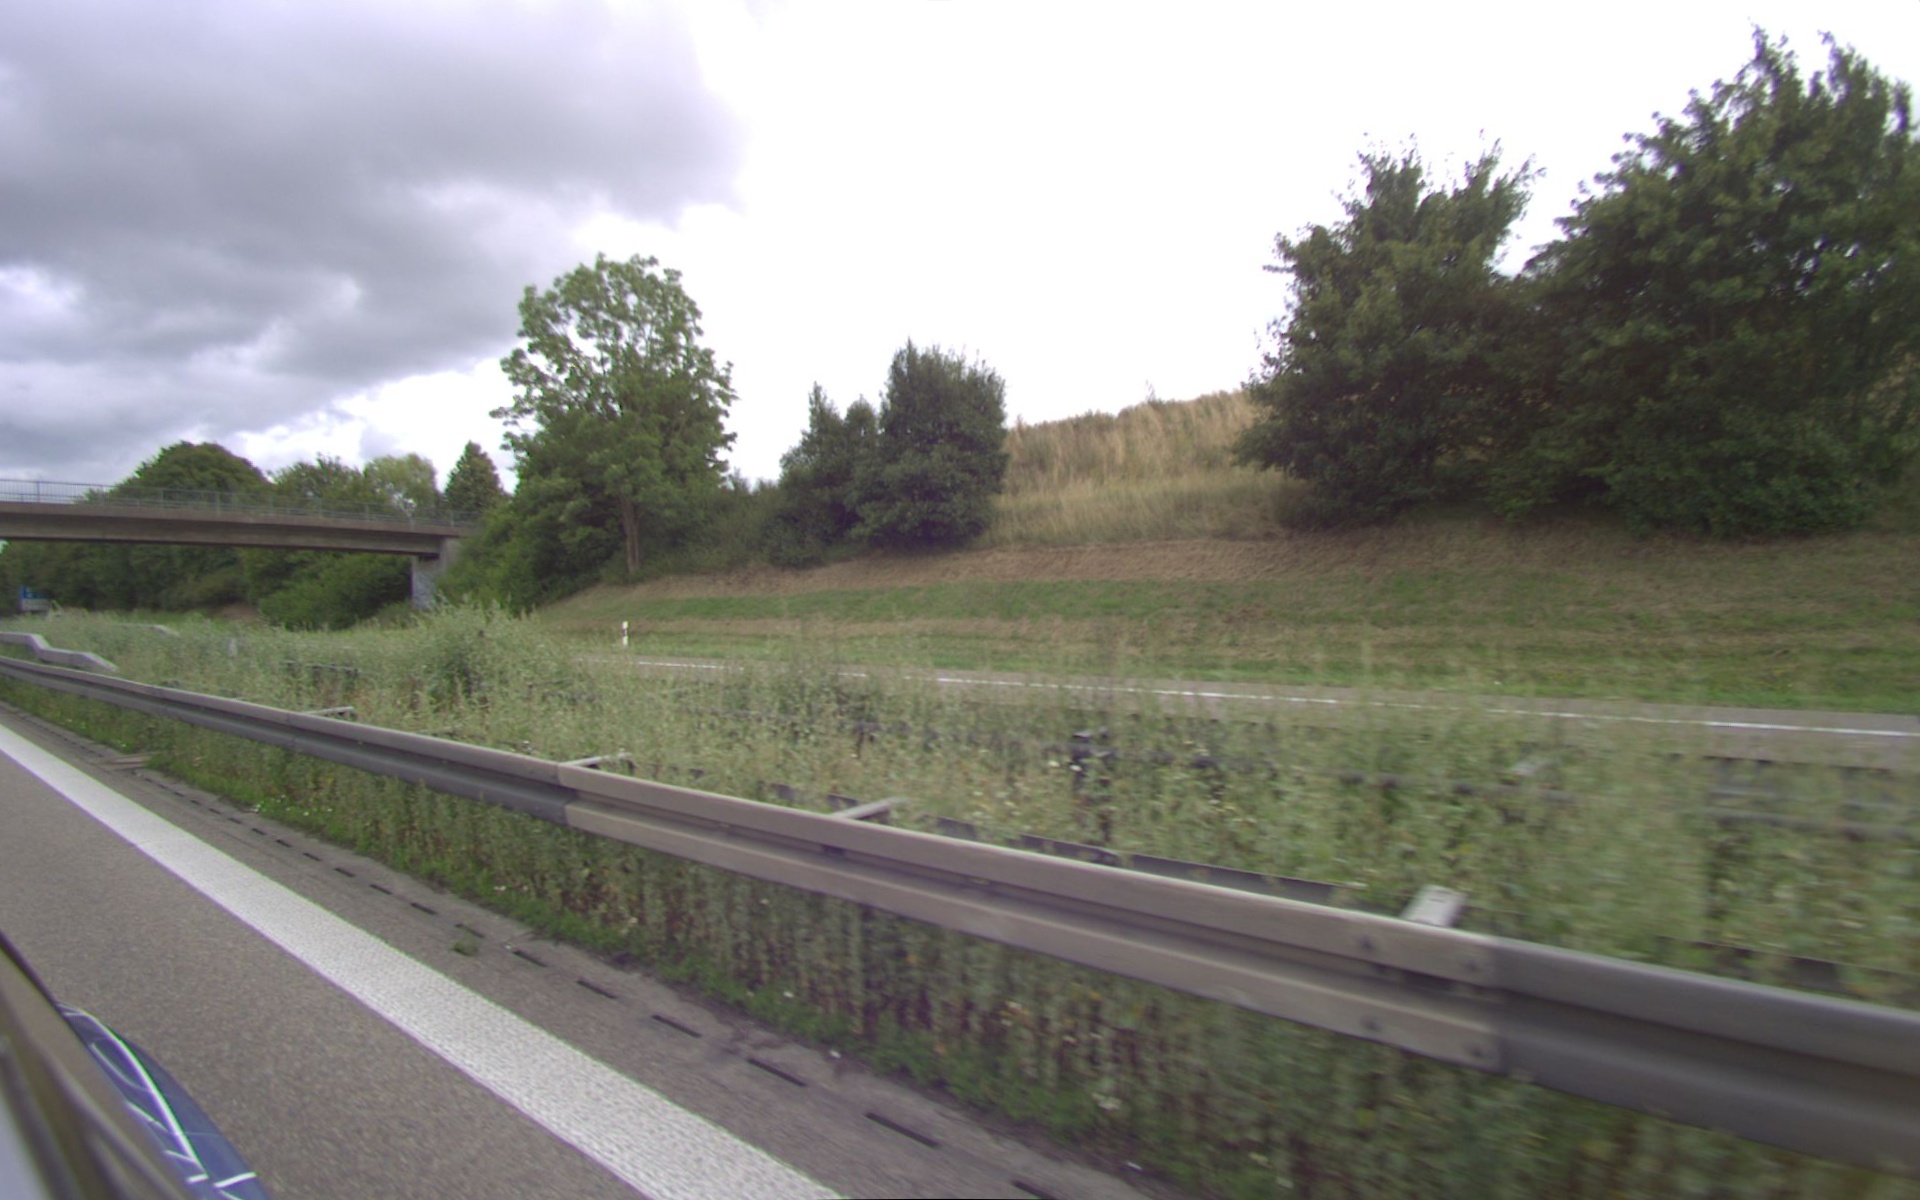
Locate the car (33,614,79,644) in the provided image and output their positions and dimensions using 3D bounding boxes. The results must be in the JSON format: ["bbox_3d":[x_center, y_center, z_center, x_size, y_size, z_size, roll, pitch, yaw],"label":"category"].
[{"bbox_3d":[-64.366,2.065,72.024,3.998,2.029,1.973,-1,0,41],"label":"car"}]
